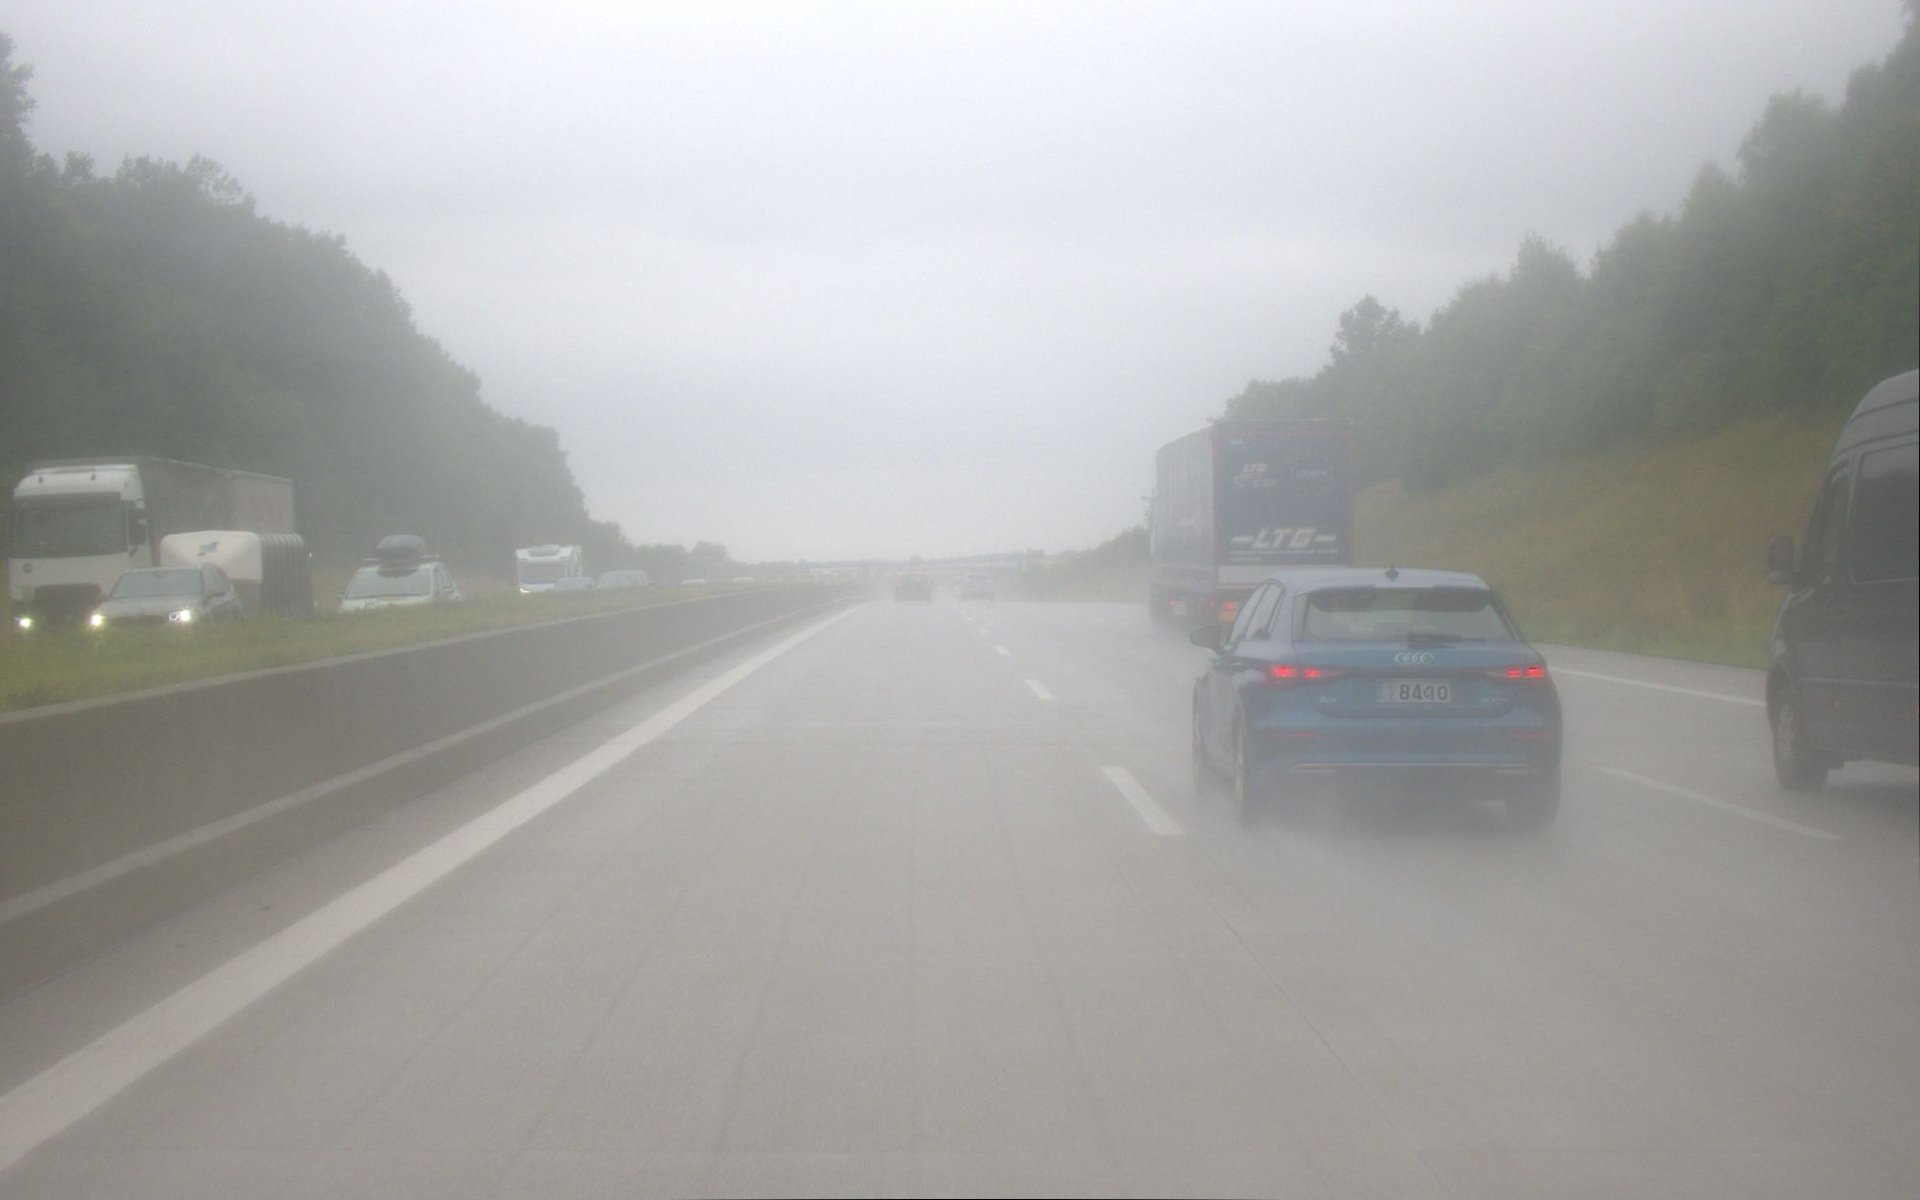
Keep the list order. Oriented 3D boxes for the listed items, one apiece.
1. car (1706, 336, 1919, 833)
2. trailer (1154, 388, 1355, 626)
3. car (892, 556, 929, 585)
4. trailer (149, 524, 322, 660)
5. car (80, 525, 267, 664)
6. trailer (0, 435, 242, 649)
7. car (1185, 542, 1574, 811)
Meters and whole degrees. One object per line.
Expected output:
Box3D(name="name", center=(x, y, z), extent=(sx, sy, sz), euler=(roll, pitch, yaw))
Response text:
Box3D(name="car", center=(6.082, -0.102, 20.143), extent=(1.941, 2.650, 6.586), euler=(1, 1, 0))
Box3D(name="trailer", center=(5.868, -1.875, 71.036), extent=(2.706, 4.364, 15.206), euler=(1, 1, 0))
Box3D(name="car", center=(-2.357, -1.392, 162.198), extent=(1.729, 1.326, 4.430), euler=(0, 1, -1))
Box3D(name="trailer", center=(-13.316, -0.193, 63.549), extent=(2.038, 2.364, 5.834), euler=(-1, 1, -1))
Box3D(name="car", center=(-13.202, -0.137, 58.020), extent=(1.993, 2.173, 5.207), euler=(-2, 1, -1))
Box3D(name="trailer", center=(-17.476, -1.240, 72.280), extent=(2.586, 4.033, 10.376), euler=(-3, 1, -1))
Box3D(name="car", center=(2.460, 0.445, 21.257), extent=(1.729, 1.454, 4.672), euler=(-1, -1, -1))
